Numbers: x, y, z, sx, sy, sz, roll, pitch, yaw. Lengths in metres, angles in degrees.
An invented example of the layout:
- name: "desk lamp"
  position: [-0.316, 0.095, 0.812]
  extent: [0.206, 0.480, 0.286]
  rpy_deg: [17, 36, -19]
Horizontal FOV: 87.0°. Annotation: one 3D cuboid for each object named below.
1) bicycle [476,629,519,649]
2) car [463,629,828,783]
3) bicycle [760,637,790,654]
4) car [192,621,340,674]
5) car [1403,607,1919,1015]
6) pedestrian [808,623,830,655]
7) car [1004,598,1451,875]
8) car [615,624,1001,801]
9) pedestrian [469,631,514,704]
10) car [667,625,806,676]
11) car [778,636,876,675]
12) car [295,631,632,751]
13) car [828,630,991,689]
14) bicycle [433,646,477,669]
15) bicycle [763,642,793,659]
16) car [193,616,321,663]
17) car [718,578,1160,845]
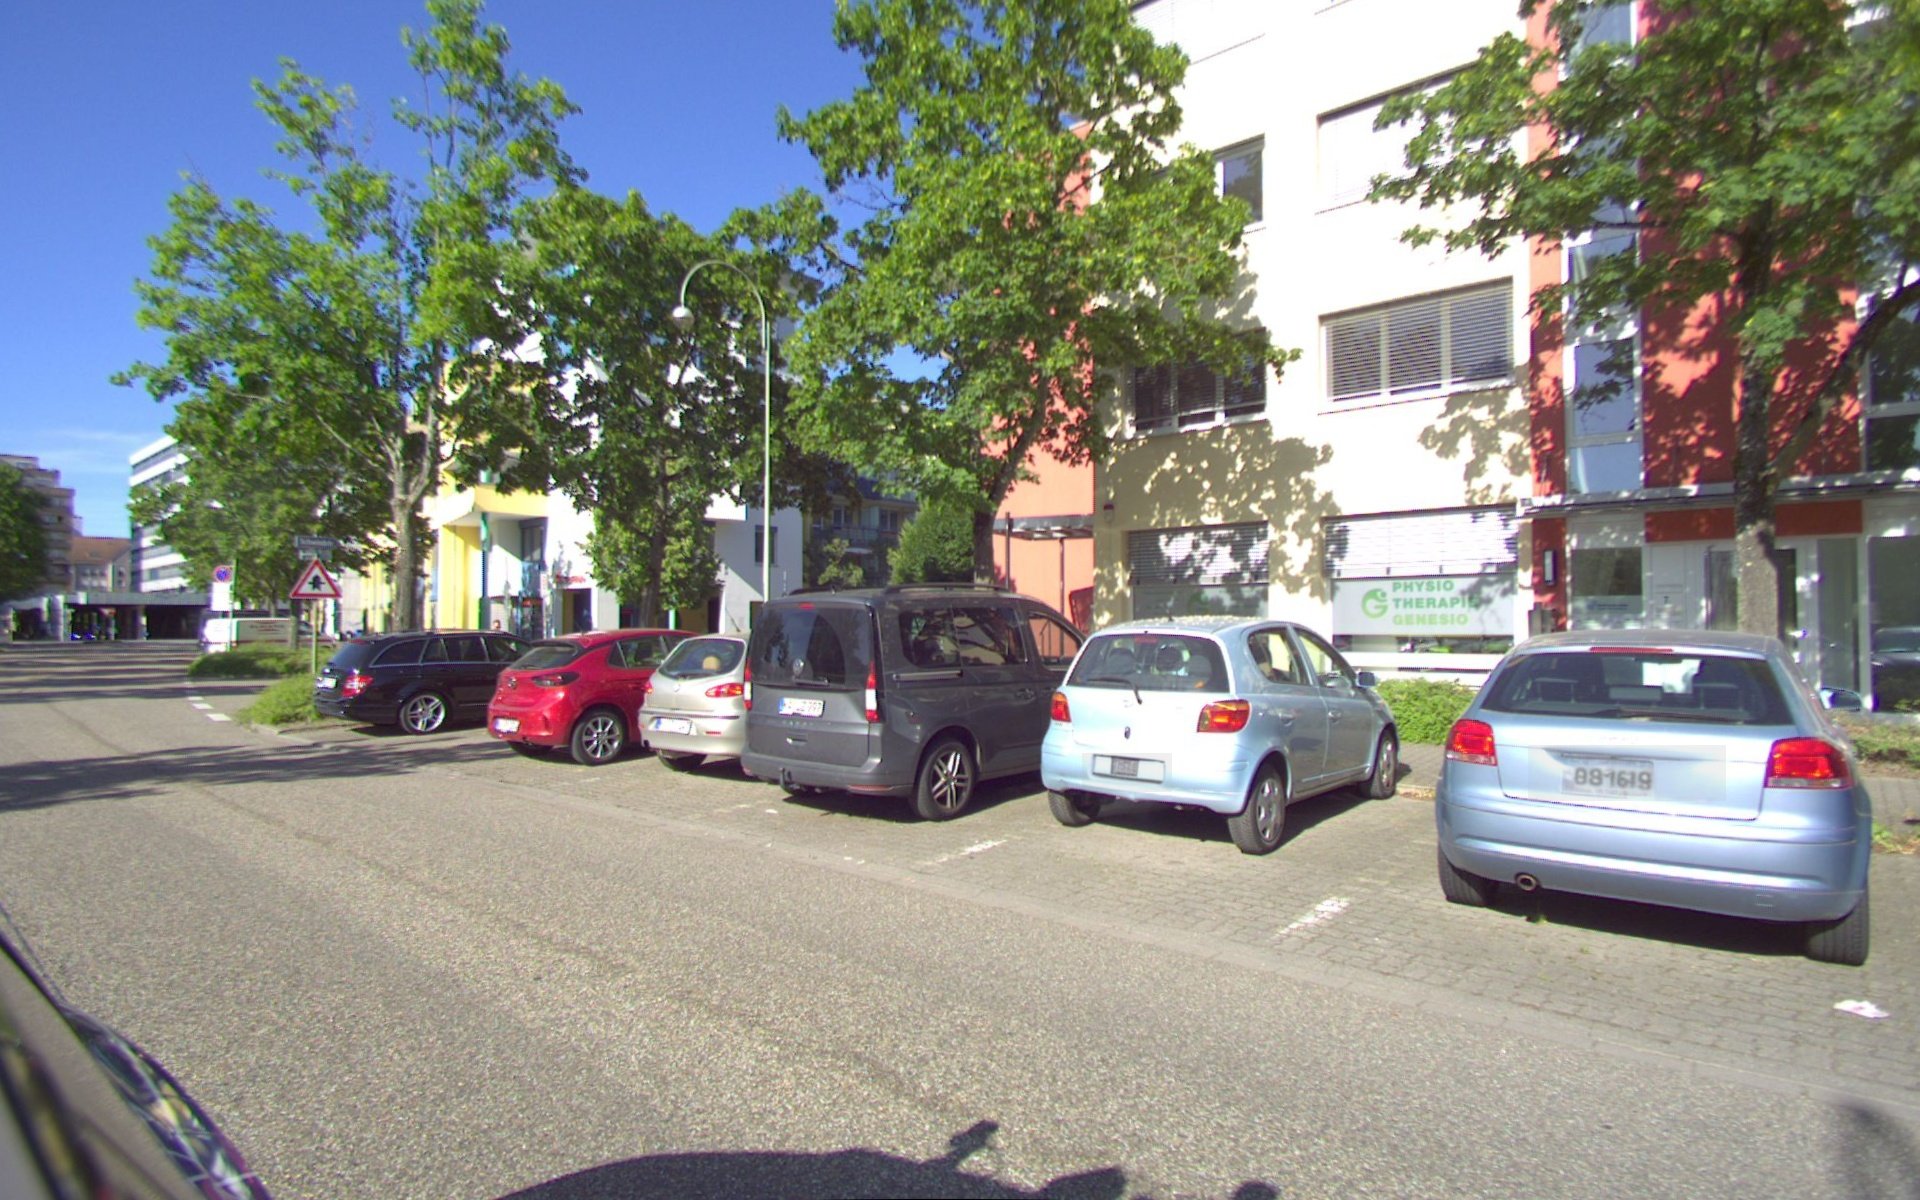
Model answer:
- name: "bicycle"
  position: [-21.022, 1.772, 46.016]
  extent: [0.490, 0.878, 1.783]
  rpy_deg: [-1, -1, 34]
- name: "car"
  position: [-3.623, 1.124, 12.168]
  extent: [1.738, 1.434, 3.851]
  rpy_deg: [-2, -1, 41]
- name: "bicycle"
  position: [-9.690, 2.373, 53.030]
  extent: [0.287, 0.878, 1.780]
  rpy_deg: [-1, -3, 39]
- name: "car"
  position: [-27.952, 1.869, 40.964]
  extent: [1.983, 2.000, 4.743]
  rpy_deg: [-2, -2, 17]
- name: "car"
  position: [3.973, 0.809, 5.707]
  extent: [1.873, 1.458, 3.691]
  rpy_deg: [-2, -1, 37]
- name: "pedestrian"
  position: [-6.906, 1.890, 49.508]
  extent: [0.719, 1.525, 0.788]
  rpy_deg: [-2, -1, 39]
- name: "car"
  position: [2.279, 0.810, 7.932]
  extent: [1.858, 1.586, 3.851]
  rpy_deg: [-2, -1, 41]
- name: "car"
  position: [-1.455, 1.024, 10.763]
  extent: [1.738, 1.434, 3.851]
  rpy_deg: [-2, -1, 41]
- name: "pedestrian"
  position: [-11.536, 1.642, 24.898]
  extent: [1.022, 1.739, 0.649]
  rpy_deg: [-2, -4, 45]
- name: "car"
  position: [-6.937, 1.580, 31.652]
  extent: [1.802, 1.458, 3.941]
  rpy_deg: [-5, -5, 40]
- name: "car"
  position: [-6.036, 2.532, 46.396]
  extent: [1.999, 1.606, 4.191]
  rpy_deg: [-3, -2, 40]
- name: "car"
  position: [-7.312, 1.246, 15.208]
  extent: [1.740, 1.434, 4.215]
  rpy_deg: [-2, -1, 44]
- name: "car"
  position: [-1.370, 1.580, 27.074]
  extent: [4.115, 1.454, 1.721]
  rpy_deg: [-2, -4, 30]
- name: "bicycle"
  position: [-24.503, 2.792, 49.106]
  extent: [1.774, 1.106, 0.703]
  rpy_deg: [3, -4, -36]
- name: "bicycle"
  position: [-9.478, 2.625, 52.787]
  extent: [0.287, 0.878, 1.780]
  rpy_deg: [-1, -3, 39]
- name: "car"
  position: [-38.574, 2.124, 55.707]
  extent: [2.175, 2.455, 5.456]
  rpy_deg: [-2, -1, 26]
- name: "car"
  position: [0.003, 0.773, 8.983]
  extent: [1.785, 1.825, 3.851]
  rpy_deg: [-2, -1, 41]
